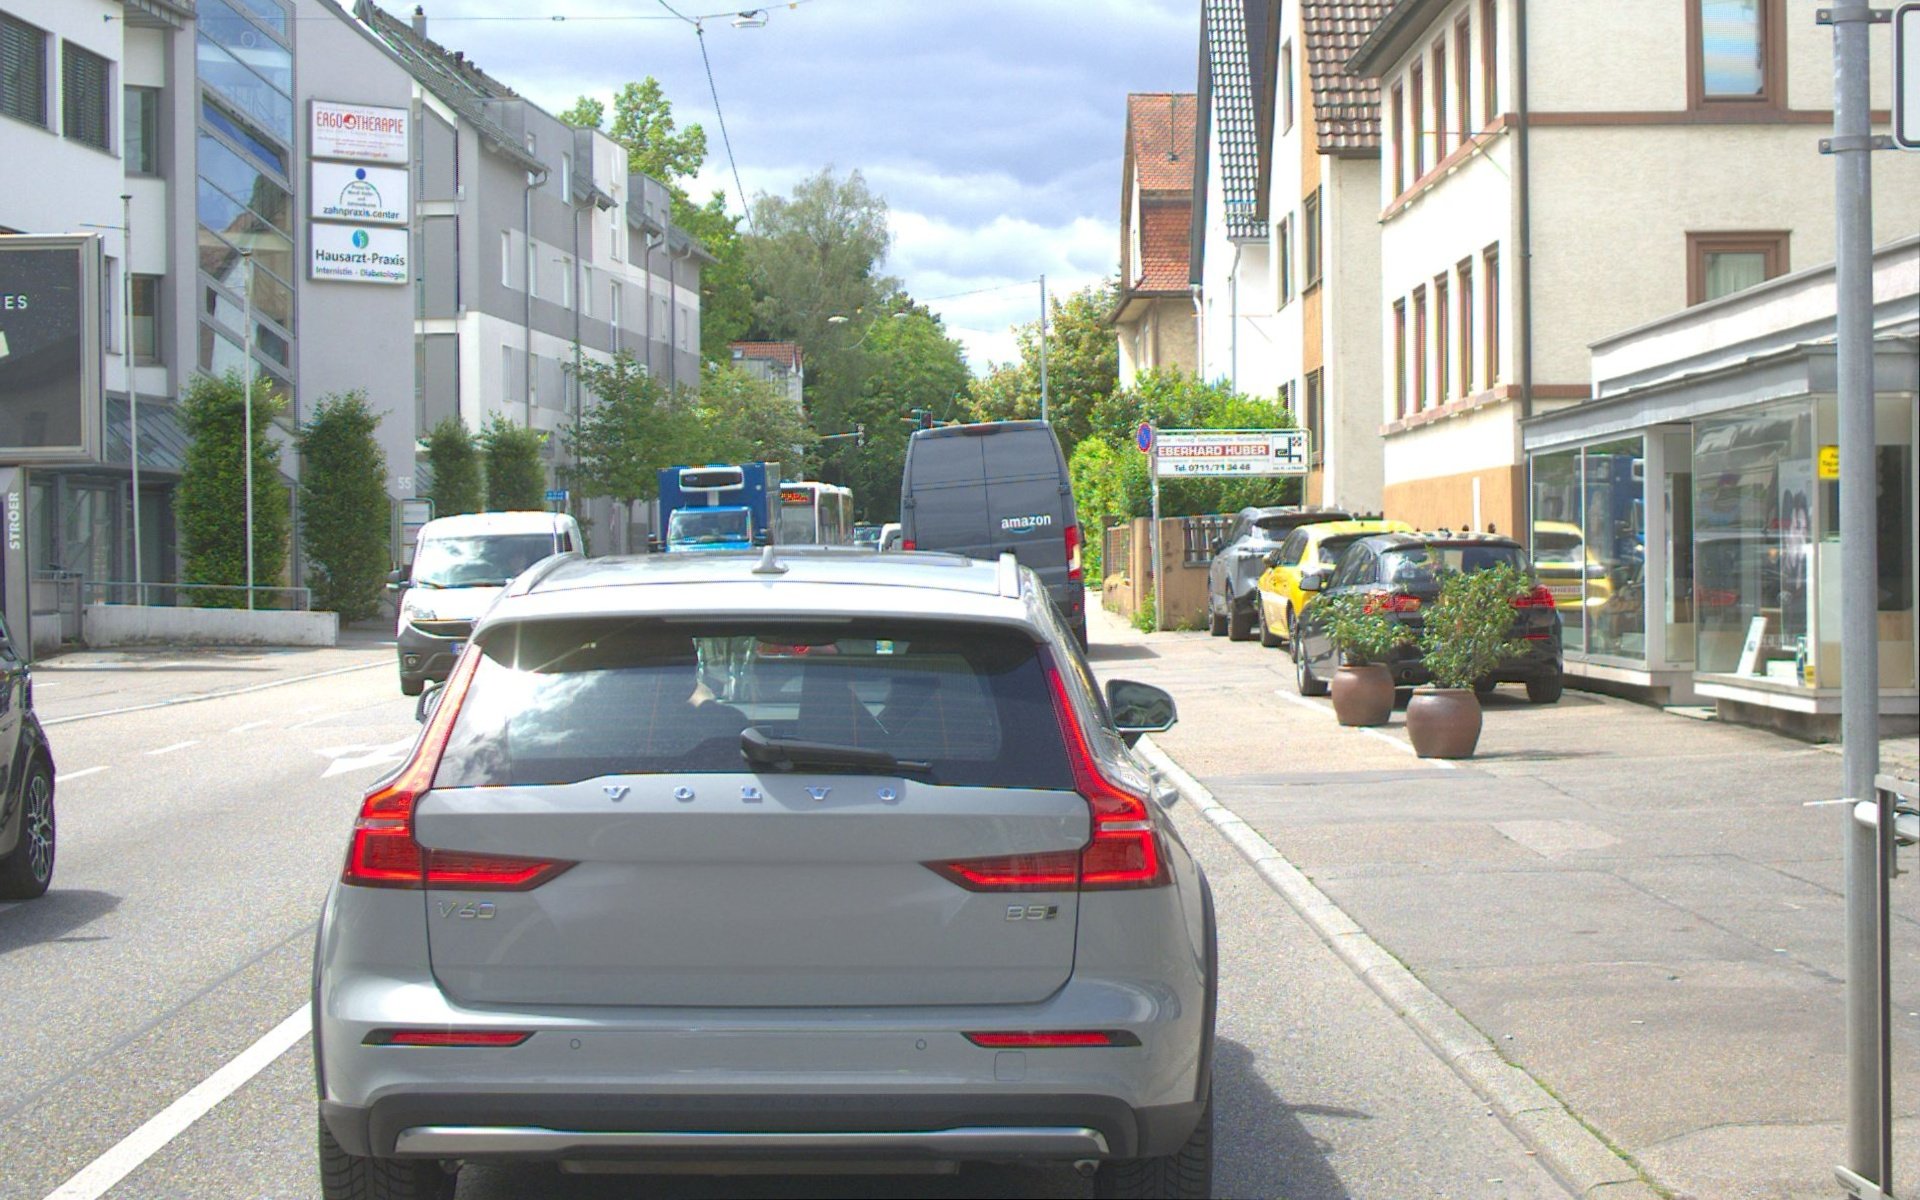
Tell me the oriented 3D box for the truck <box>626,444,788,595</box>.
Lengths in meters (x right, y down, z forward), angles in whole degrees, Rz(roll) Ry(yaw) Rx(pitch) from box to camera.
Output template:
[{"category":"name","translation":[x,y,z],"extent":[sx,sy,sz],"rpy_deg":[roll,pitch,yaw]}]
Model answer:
[{"category":"truck","translation":[-5.423,-1.736,75.122],"extent":[2.853,3.082,8.089],"rpy_deg":[-1,1,0]}]

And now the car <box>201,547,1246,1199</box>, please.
[{"category":"car","translation":[-0.388,0.614,8.222],"extent":[1.896,1.448,3.968],"rpy_deg":[0,1,1]}]

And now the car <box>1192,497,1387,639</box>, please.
[{"category":"car","translation":[4.044,-0.433,42.807],"extent":[1.860,1.606,4.586],"rpy_deg":[-2,1,-1]}]

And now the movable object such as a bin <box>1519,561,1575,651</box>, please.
[{"category":"movable object such as a bin","translation":[6.145,0.056,35.981],"extent":[0.501,0.922,0.598],"rpy_deg":[-1,1,4]}]

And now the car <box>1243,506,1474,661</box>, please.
[{"category":"car","translation":[4.337,-0.231,38.021],"extent":[1.877,1.442,4.308],"rpy_deg":[-1,3,-2]}]

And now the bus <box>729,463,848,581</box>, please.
[{"category":"bus","translation":[-4.798,-2.204,97.956],"extent":[2.682,3.153,10.185],"rpy_deg":[-1,1,1]}]

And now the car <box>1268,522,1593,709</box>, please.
[{"category":"car","translation":[3.935,0.078,29.516],"extent":[1.968,1.442,4.536],"rpy_deg":[-1,1,-2]}]

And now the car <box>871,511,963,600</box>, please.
[{"category":"car","translation":[-0.965,-1.046,79.606],"extent":[1.993,2.007,4.000],"rpy_deg":[0,1,1]}]

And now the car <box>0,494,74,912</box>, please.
[{"category":"car","translation":[-4.588,0.418,13.258],"extent":[1.676,1.629,2.834],"rpy_deg":[-1,1,-2]}]

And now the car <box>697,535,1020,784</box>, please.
[{"category":"car","translation":[-0.566,0.311,22.172],"extent":[1.896,1.441,3.969],"rpy_deg":[0,1,1]}]

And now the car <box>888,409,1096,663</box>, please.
[{"category":"car","translation":[0.335,-0.765,41.029],"extent":[2.252,2.786,5.569],"rpy_deg":[-1,1,0]}]

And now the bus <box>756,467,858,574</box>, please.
[{"category":"bus","translation":[-4.703,-2.453,107.019],"extent":[2.716,3.153,8.069],"rpy_deg":[-1,1,0]}]

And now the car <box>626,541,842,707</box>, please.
[{"category":"car","translation":[-2.127,0.183,32.290],"extent":[1.896,1.441,3.969],"rpy_deg":[0,1,-4]}]

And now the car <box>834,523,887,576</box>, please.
[{"category":"car","translation":[-4.150,-2.102,143.832],"extent":[2.105,2.114,4.766],"rpy_deg":[-2,1,-1]}]

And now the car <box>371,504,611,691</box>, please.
[{"category":"car","translation":[-4.856,-0.067,36.144],"extent":[1.945,1.814,4.279],"rpy_deg":[-1,1,-1]}]
